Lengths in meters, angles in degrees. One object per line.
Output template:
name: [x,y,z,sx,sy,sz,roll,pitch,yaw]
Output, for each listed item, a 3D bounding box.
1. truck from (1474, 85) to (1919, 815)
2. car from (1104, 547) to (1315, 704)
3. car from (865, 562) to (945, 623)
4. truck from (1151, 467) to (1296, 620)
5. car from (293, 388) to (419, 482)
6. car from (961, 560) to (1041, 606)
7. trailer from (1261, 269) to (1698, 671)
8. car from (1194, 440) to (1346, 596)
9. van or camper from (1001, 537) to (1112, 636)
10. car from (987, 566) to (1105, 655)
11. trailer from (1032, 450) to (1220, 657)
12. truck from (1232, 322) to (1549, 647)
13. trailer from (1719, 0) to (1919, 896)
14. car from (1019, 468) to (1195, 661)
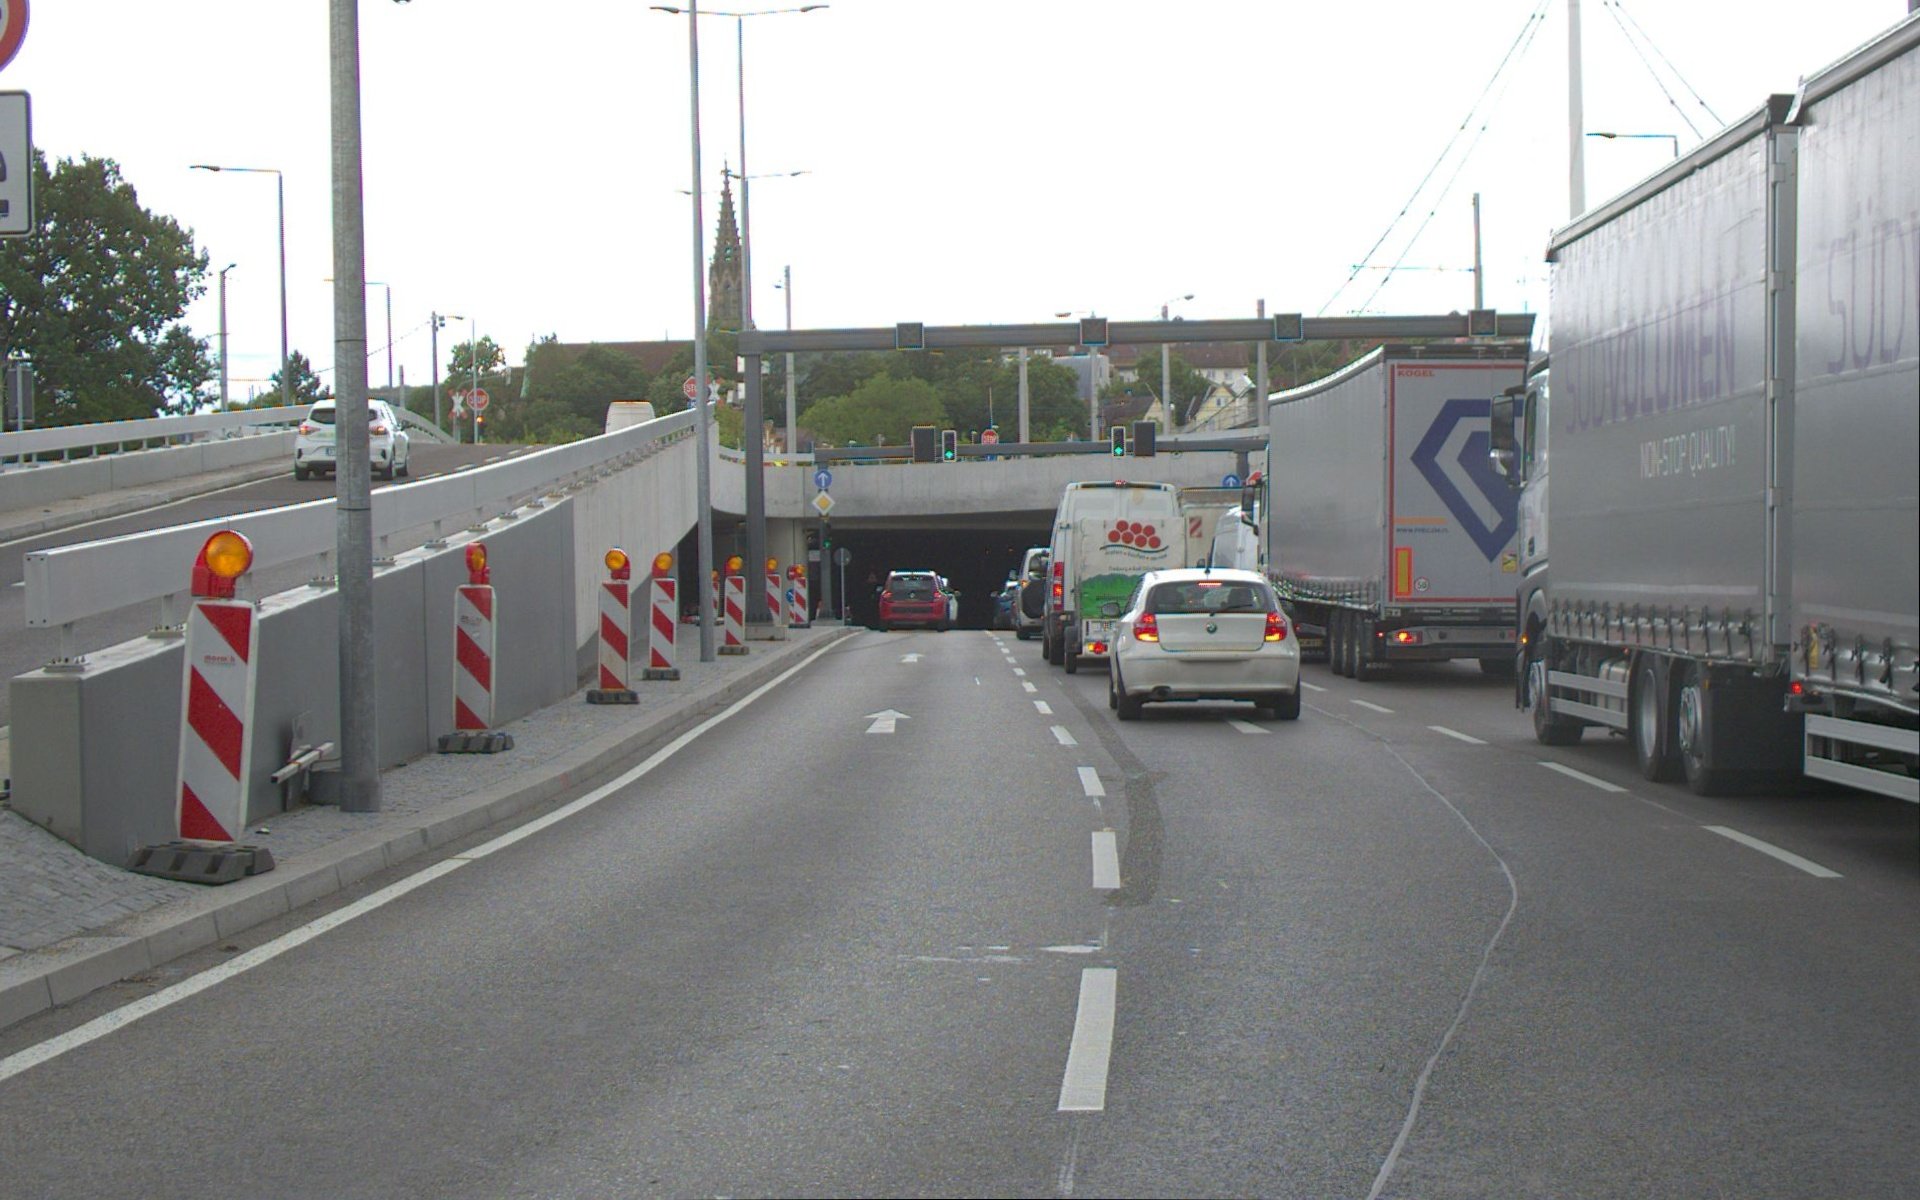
truck: [6.319,-0.910,24.946,3.724,4.127,10.983,1,1,1]
car: [2.379,0.217,33.701,1.716,1.393,4.347,1,0,0]
car: [-1.406,-0.175,86.714,1.660,1.483,3.567,-1,-1,-7]
truck: [5.747,-1.208,76.036,2.649,3.174,7.426,-1,0,0]
car: [-10.753,-2.929,61.441,1.743,1.428,3.776,3,0,-4]
car: [1.268,-0.545,107.665,1.993,1.382,4.001,0,1,-7]
trailer: [6.560,-1.600,45.965,3.805,4.615,12.115,1,1,-1]
car: [5.909,-1.568,66.449,2.075,2.763,7.327,2,1,-1]
van or camper: [1.939,-0.316,70.507,1.993,1.838,5.509,1,2,-1]
car: [1.573,0.171,64.339,1.681,1.539,3.694,1,1,-6]
trailer: [2.239,-0.623,47.738,2.103,2.630,4.810,3,0,-2]
truck: [6.463,-1.708,52.968,3.805,4.615,7.443,1,1,-1]
trailer: [6.012,-0.749,14.074,3.724,4.127,10.983,1,1,2]
car: [2.125,-0.508,51.436,2.058,2.619,5.943,3,0,-2]
